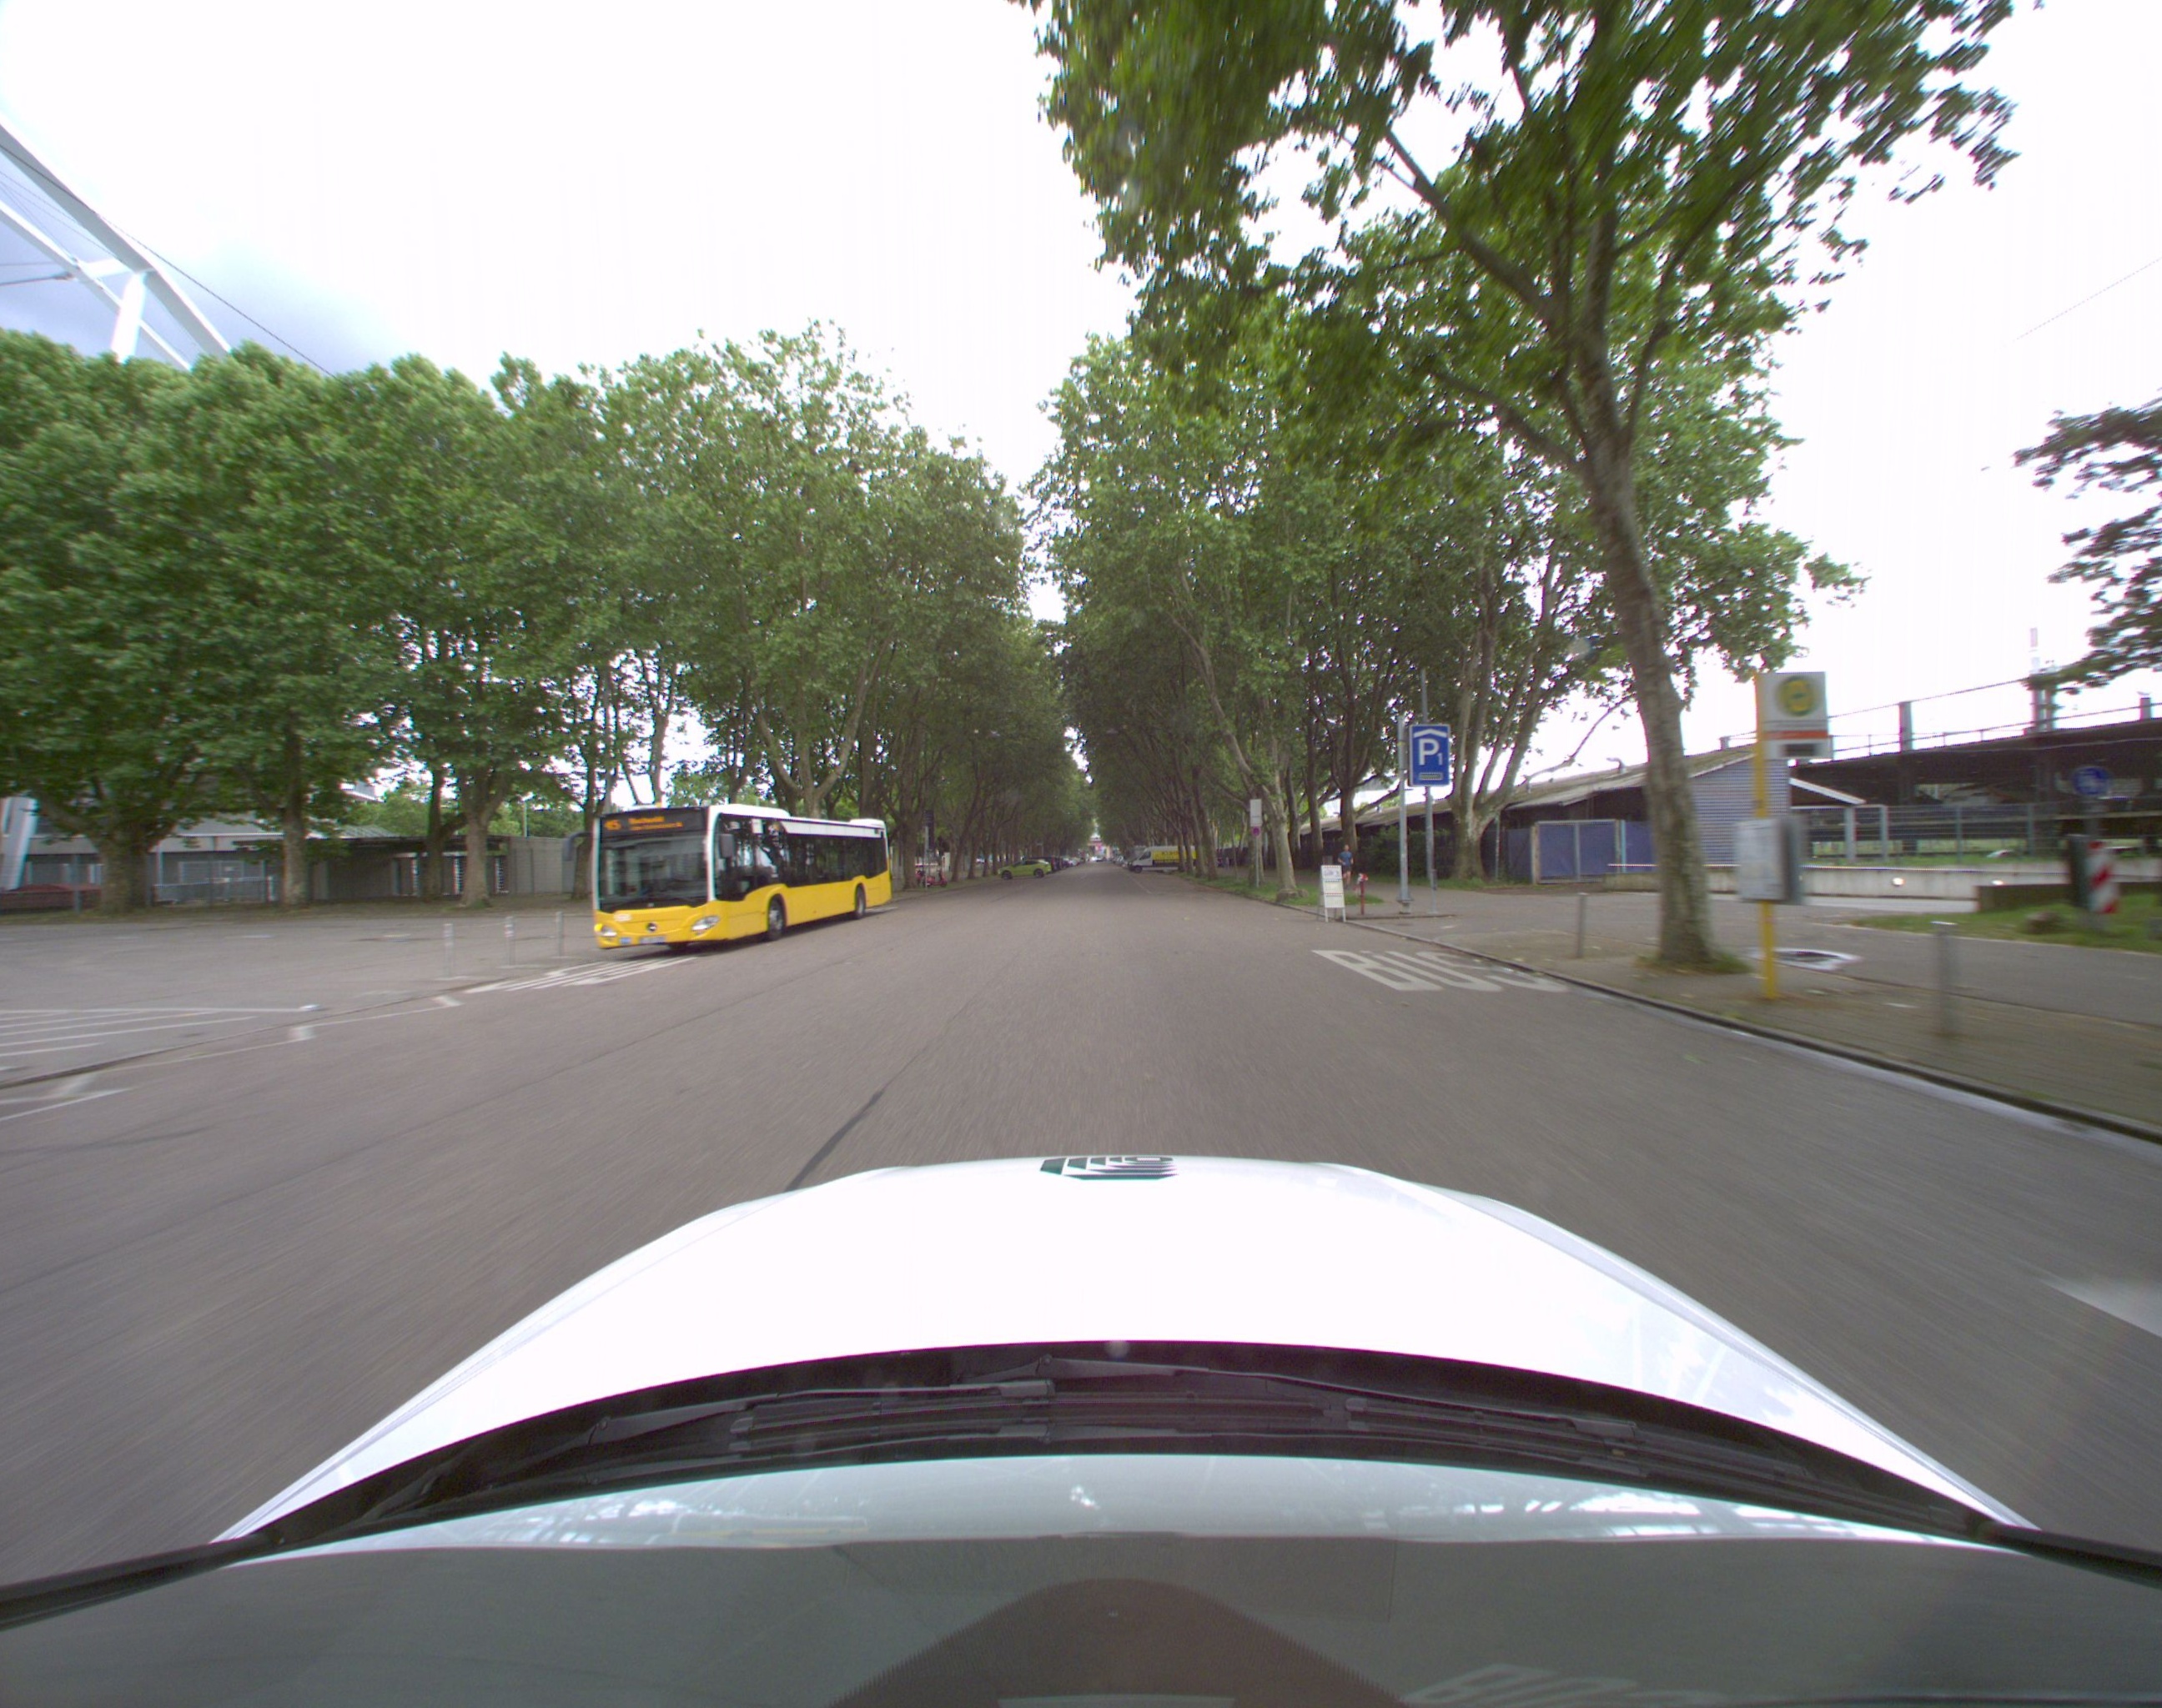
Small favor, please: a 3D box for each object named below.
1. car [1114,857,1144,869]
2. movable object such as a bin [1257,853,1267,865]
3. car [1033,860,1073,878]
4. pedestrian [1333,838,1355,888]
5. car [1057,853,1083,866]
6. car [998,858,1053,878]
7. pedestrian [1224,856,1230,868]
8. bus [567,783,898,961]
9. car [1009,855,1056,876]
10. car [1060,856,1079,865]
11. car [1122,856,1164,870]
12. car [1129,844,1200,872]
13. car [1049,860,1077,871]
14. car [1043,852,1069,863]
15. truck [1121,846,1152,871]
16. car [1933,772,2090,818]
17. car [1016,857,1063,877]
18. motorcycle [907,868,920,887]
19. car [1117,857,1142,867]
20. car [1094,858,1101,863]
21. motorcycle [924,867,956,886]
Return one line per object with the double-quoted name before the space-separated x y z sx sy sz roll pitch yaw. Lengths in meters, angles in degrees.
"car" 6.984 1.336 118.691 4.321 1.618 1.805 0 -1 4
"movable object such as a bin" 15.055 0.441 67.710 0.566 0.959 0.675 -6 -1 0
"car" -3.923 2.077 115.050 5.419 2.128 1.940 -3 0 -1
"pedestrian" 10.895 0.369 33.750 0.705 2.014 0.884 -1 -1 10
"car" -2.169 1.060 156.527 4.877 2.019 1.919 -3 -1 0
"car" -4.752 1.209 70.115 4.497 1.618 1.759 -2 -1 3
"pedestrian" 13.650 0.717 76.100 0.393 1.084 0.419 -4 -1 5
"bus" -7.963 0.377 21.507 2.640 3.154 12.378 -4 -1 3
"car" -5.091 1.233 84.962 4.752 1.924 2.015 -3 0 -4
"car" -2.445 1.453 173.189 3.817 1.627 1.951 -3 -1 -2
"car" 6.572 0.979 86.216 4.338 1.445 1.614 -1 -1 5
"car" 8.141 0.380 79.783 6.853 2.695 2.129 -1 -1 2
"car" -2.943 1.927 133.507 4.366 1.597 1.999 -3 -1 -1
"car" -4.274 0.626 141.421 4.327 1.667 1.999 -4 -1 -1
"truck" 6.806 0.538 101.123 2.456 2.938 7.519 0 -1 -7
"car" 38.002 -2.398 33.340 4.248 1.673 1.983 -1 -1 -1
"car" -4.511 1.424 89.804 4.887 1.924 2.209 -3 0 2
"motorcycle" -10.832 1.504 52.534 0.575 1.158 2.064 0 -1 -18
"car" 7.914 1.316 133.703 4.102 1.429 1.704 1 -1 3
"car" 4.751 1.927 234.464 1.650 1.364 4.108 -4 -1 -2
"motorcycle" -9.042 1.426 52.136 0.568 1.158 2.089 -1 -1 44
